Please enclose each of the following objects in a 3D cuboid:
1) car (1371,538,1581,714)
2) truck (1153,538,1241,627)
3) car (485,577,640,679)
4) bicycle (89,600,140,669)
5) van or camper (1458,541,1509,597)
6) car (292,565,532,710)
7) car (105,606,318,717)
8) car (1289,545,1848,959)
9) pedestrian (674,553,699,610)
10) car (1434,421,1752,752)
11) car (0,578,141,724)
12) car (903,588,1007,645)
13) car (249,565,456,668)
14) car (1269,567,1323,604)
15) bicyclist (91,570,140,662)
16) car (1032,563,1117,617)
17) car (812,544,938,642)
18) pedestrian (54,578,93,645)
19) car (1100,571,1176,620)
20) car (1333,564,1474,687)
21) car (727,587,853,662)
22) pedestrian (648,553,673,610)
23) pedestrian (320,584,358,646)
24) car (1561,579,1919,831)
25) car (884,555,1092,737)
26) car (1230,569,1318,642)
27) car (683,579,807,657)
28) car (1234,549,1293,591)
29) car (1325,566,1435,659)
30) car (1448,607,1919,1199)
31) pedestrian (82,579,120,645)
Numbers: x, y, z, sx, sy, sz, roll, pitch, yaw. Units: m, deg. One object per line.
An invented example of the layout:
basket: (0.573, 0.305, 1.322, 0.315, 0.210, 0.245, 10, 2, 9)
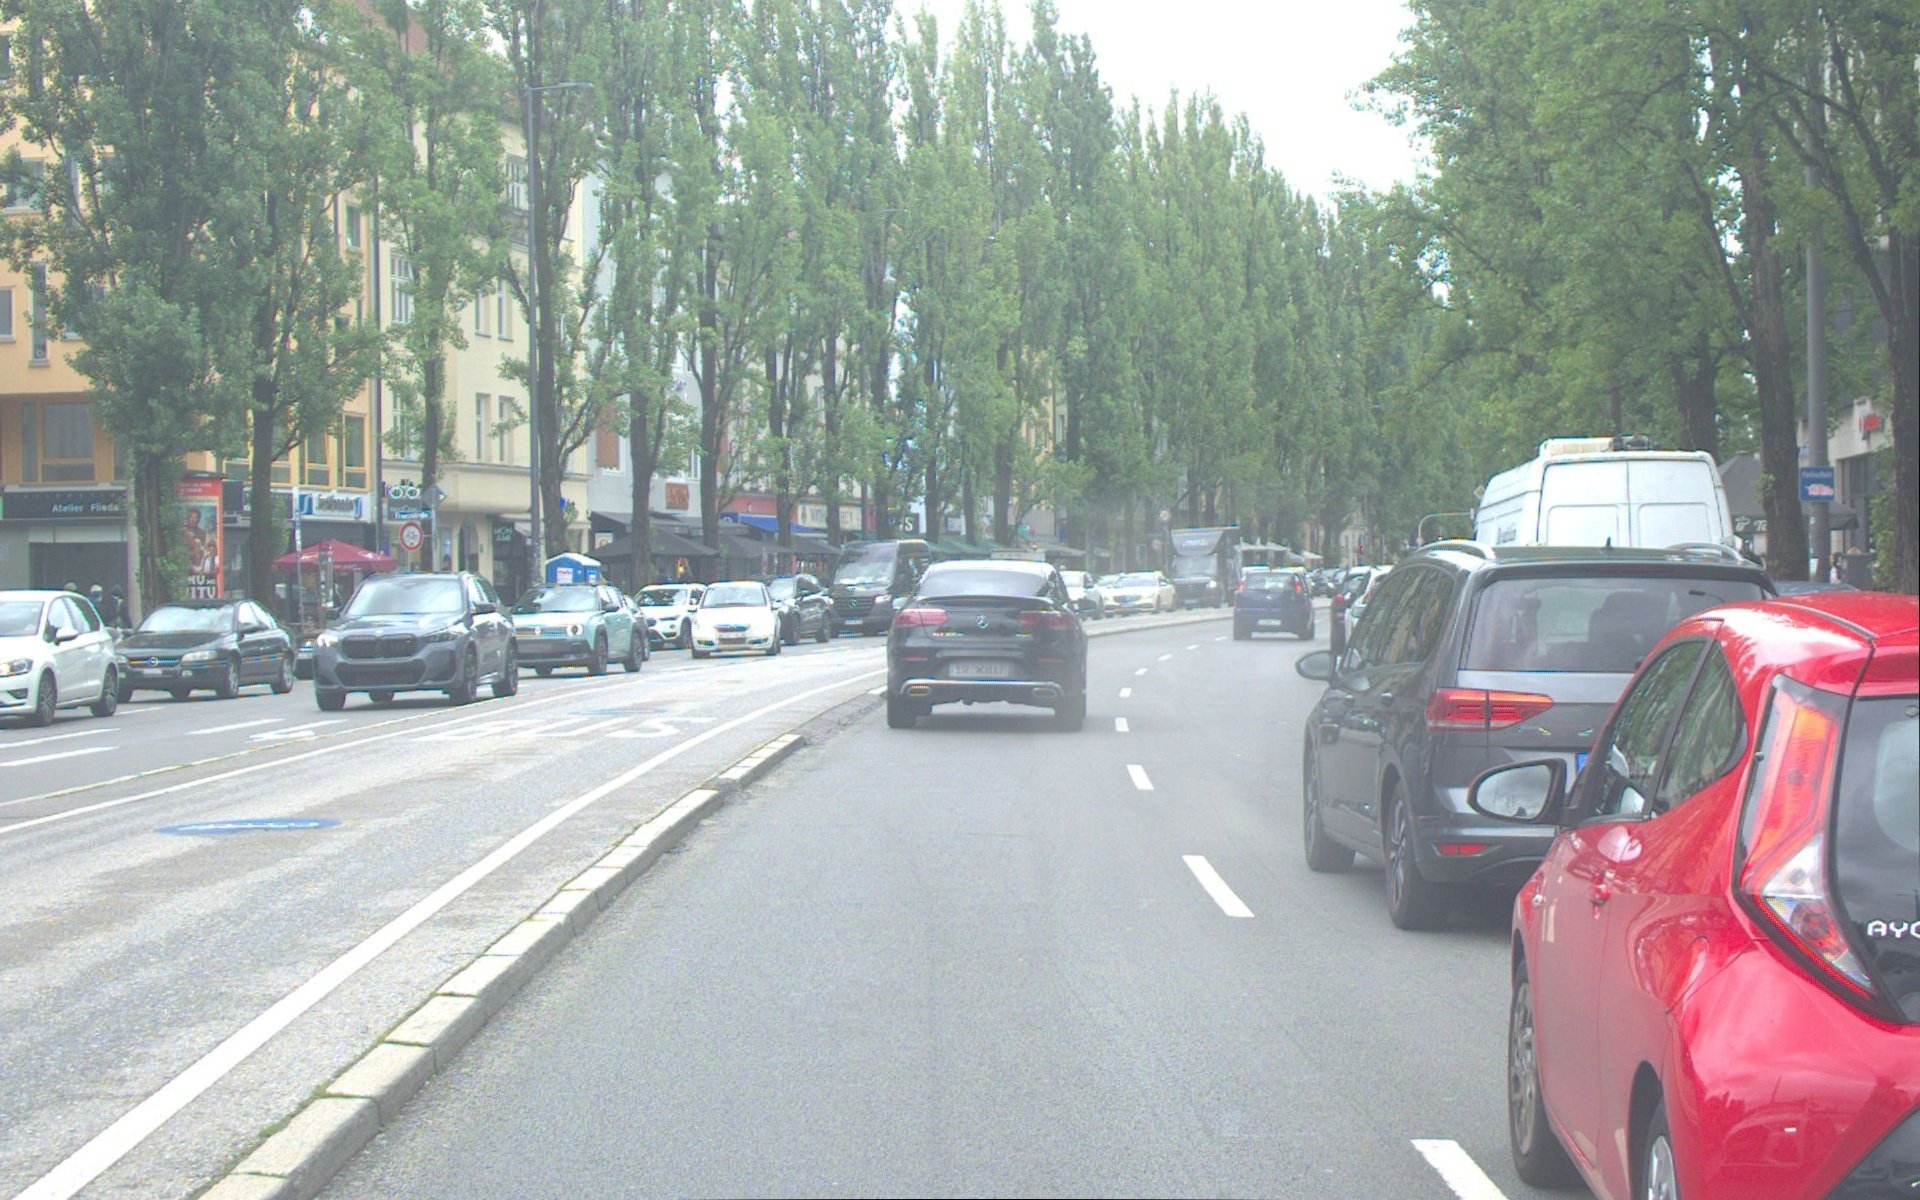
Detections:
car: (5.623, 0.249, 37.951, 1.929, 1.799, 4.779, 1, 0, 4)
truck: (9.225, -0.700, 133.111, 2.292, 3.311, 7.153, -2, 0, 12)
car: (-6.545, 0.434, 56.990, 1.817, 1.540, 4.000, -3, 0, 3)
bicycle: (-14.897, 0.603, 60.600, 0.368, 1.197, 1.153, -1, 0, 14)
van or camper: (24.033, -1.402, 157.746, 2.035, 2.467, 3.997, -1, -1, 13)
car: (-6.626, 0.415, 42.054, 1.994, 1.615, 4.413, -2, 0, 3)
car: (-10.538, 0.831, 48.720, 1.729, 1.404, 4.687, -1, 1, 3)
car: (2.578, 0.577, 15.522, 1.761, 1.608, 4.184, 0, 0, 0)
pedestrian: (-9.046, -0.611, 113.711, 0.638, 1.855, 0.647, -1, 0, 13)
car: (5.654, -0.108, 31.425, 1.993, 2.732, 5.554, 1, 0, 2)
car: (-11.152, 0.562, 39.939, 1.994, 1.595, 4.289, -1, 0, 4)
car: (-0.101, 0.423, 91.652, 1.800, 1.389, 4.688, -1, 0, 12)
car: (-11.077, 0.307, 62.939, 1.758, 1.810, 3.995, 1, 0, 25)
car: (15.418, -0.674, 157.647, 1.940, 1.636, 4.461, -1, 0, 12)
bicyclist: (-14.893, 0.278, 60.643, 0.502, 1.587, 0.834, -1, 0, 13)
car: (3.553, -0.311, 106.123, 1.910, 1.597, 4.353, -1, 0, 11)
car: (-2.307, -0.222, 95.585, 2.171, 2.596, 6.061, -1, 0, 11)
pedestrian: (-19.397, 0.246, 75.215, 0.632, 1.430, 0.778, -1, 0, -1)
car: (6.244, -0.184, 120.099, 1.994, 1.583, 5.193, -2, 0, 10)
car: (6.378, 0.333, 49.759, 1.727, 1.680, 4.408, 0, 0, 4)
car: (-4.090, 0.571, 83.411, 2.019, 1.710, 4.980, -1, 0, 9)
pedestrian: (-9.905, -0.620, 113.740, 0.638, 1.855, 0.647, -1, 0, 13)
pedestrian: (-15.666, 0.377, 86.757, 0.634, 1.556, 0.815, -1, 0, 14)
car: (5.073, 0.616, 22.654, 1.725, 1.449, 4.147, 2, 1, 4)
car: (0.280, 0.401, 33.772, 1.880, 1.636, 4.583, -1, 0, 1)
car: (7.181, 0.128, 78.430, 1.760, 1.614, 3.745, 1, 0, 9)
car: (-4.558, 0.358, 73.392, 1.954, 1.584, 3.999, -1, 0, 6)
car: (12.947, -1.296, 146.540, 1.861, 1.705, 4.533, -2, 0, 12)
car: (8.054, 0.240, 65.673, 1.925, 1.694, 4.648, 1, 0, 9)
car: (2.063, 0.748, 7.237, 1.665, 1.441, 3.596, 1, 0, 2)
pedestrian: (-18.778, 0.255, 75.182, 0.632, 1.430, 0.778, -1, 0, -1)
